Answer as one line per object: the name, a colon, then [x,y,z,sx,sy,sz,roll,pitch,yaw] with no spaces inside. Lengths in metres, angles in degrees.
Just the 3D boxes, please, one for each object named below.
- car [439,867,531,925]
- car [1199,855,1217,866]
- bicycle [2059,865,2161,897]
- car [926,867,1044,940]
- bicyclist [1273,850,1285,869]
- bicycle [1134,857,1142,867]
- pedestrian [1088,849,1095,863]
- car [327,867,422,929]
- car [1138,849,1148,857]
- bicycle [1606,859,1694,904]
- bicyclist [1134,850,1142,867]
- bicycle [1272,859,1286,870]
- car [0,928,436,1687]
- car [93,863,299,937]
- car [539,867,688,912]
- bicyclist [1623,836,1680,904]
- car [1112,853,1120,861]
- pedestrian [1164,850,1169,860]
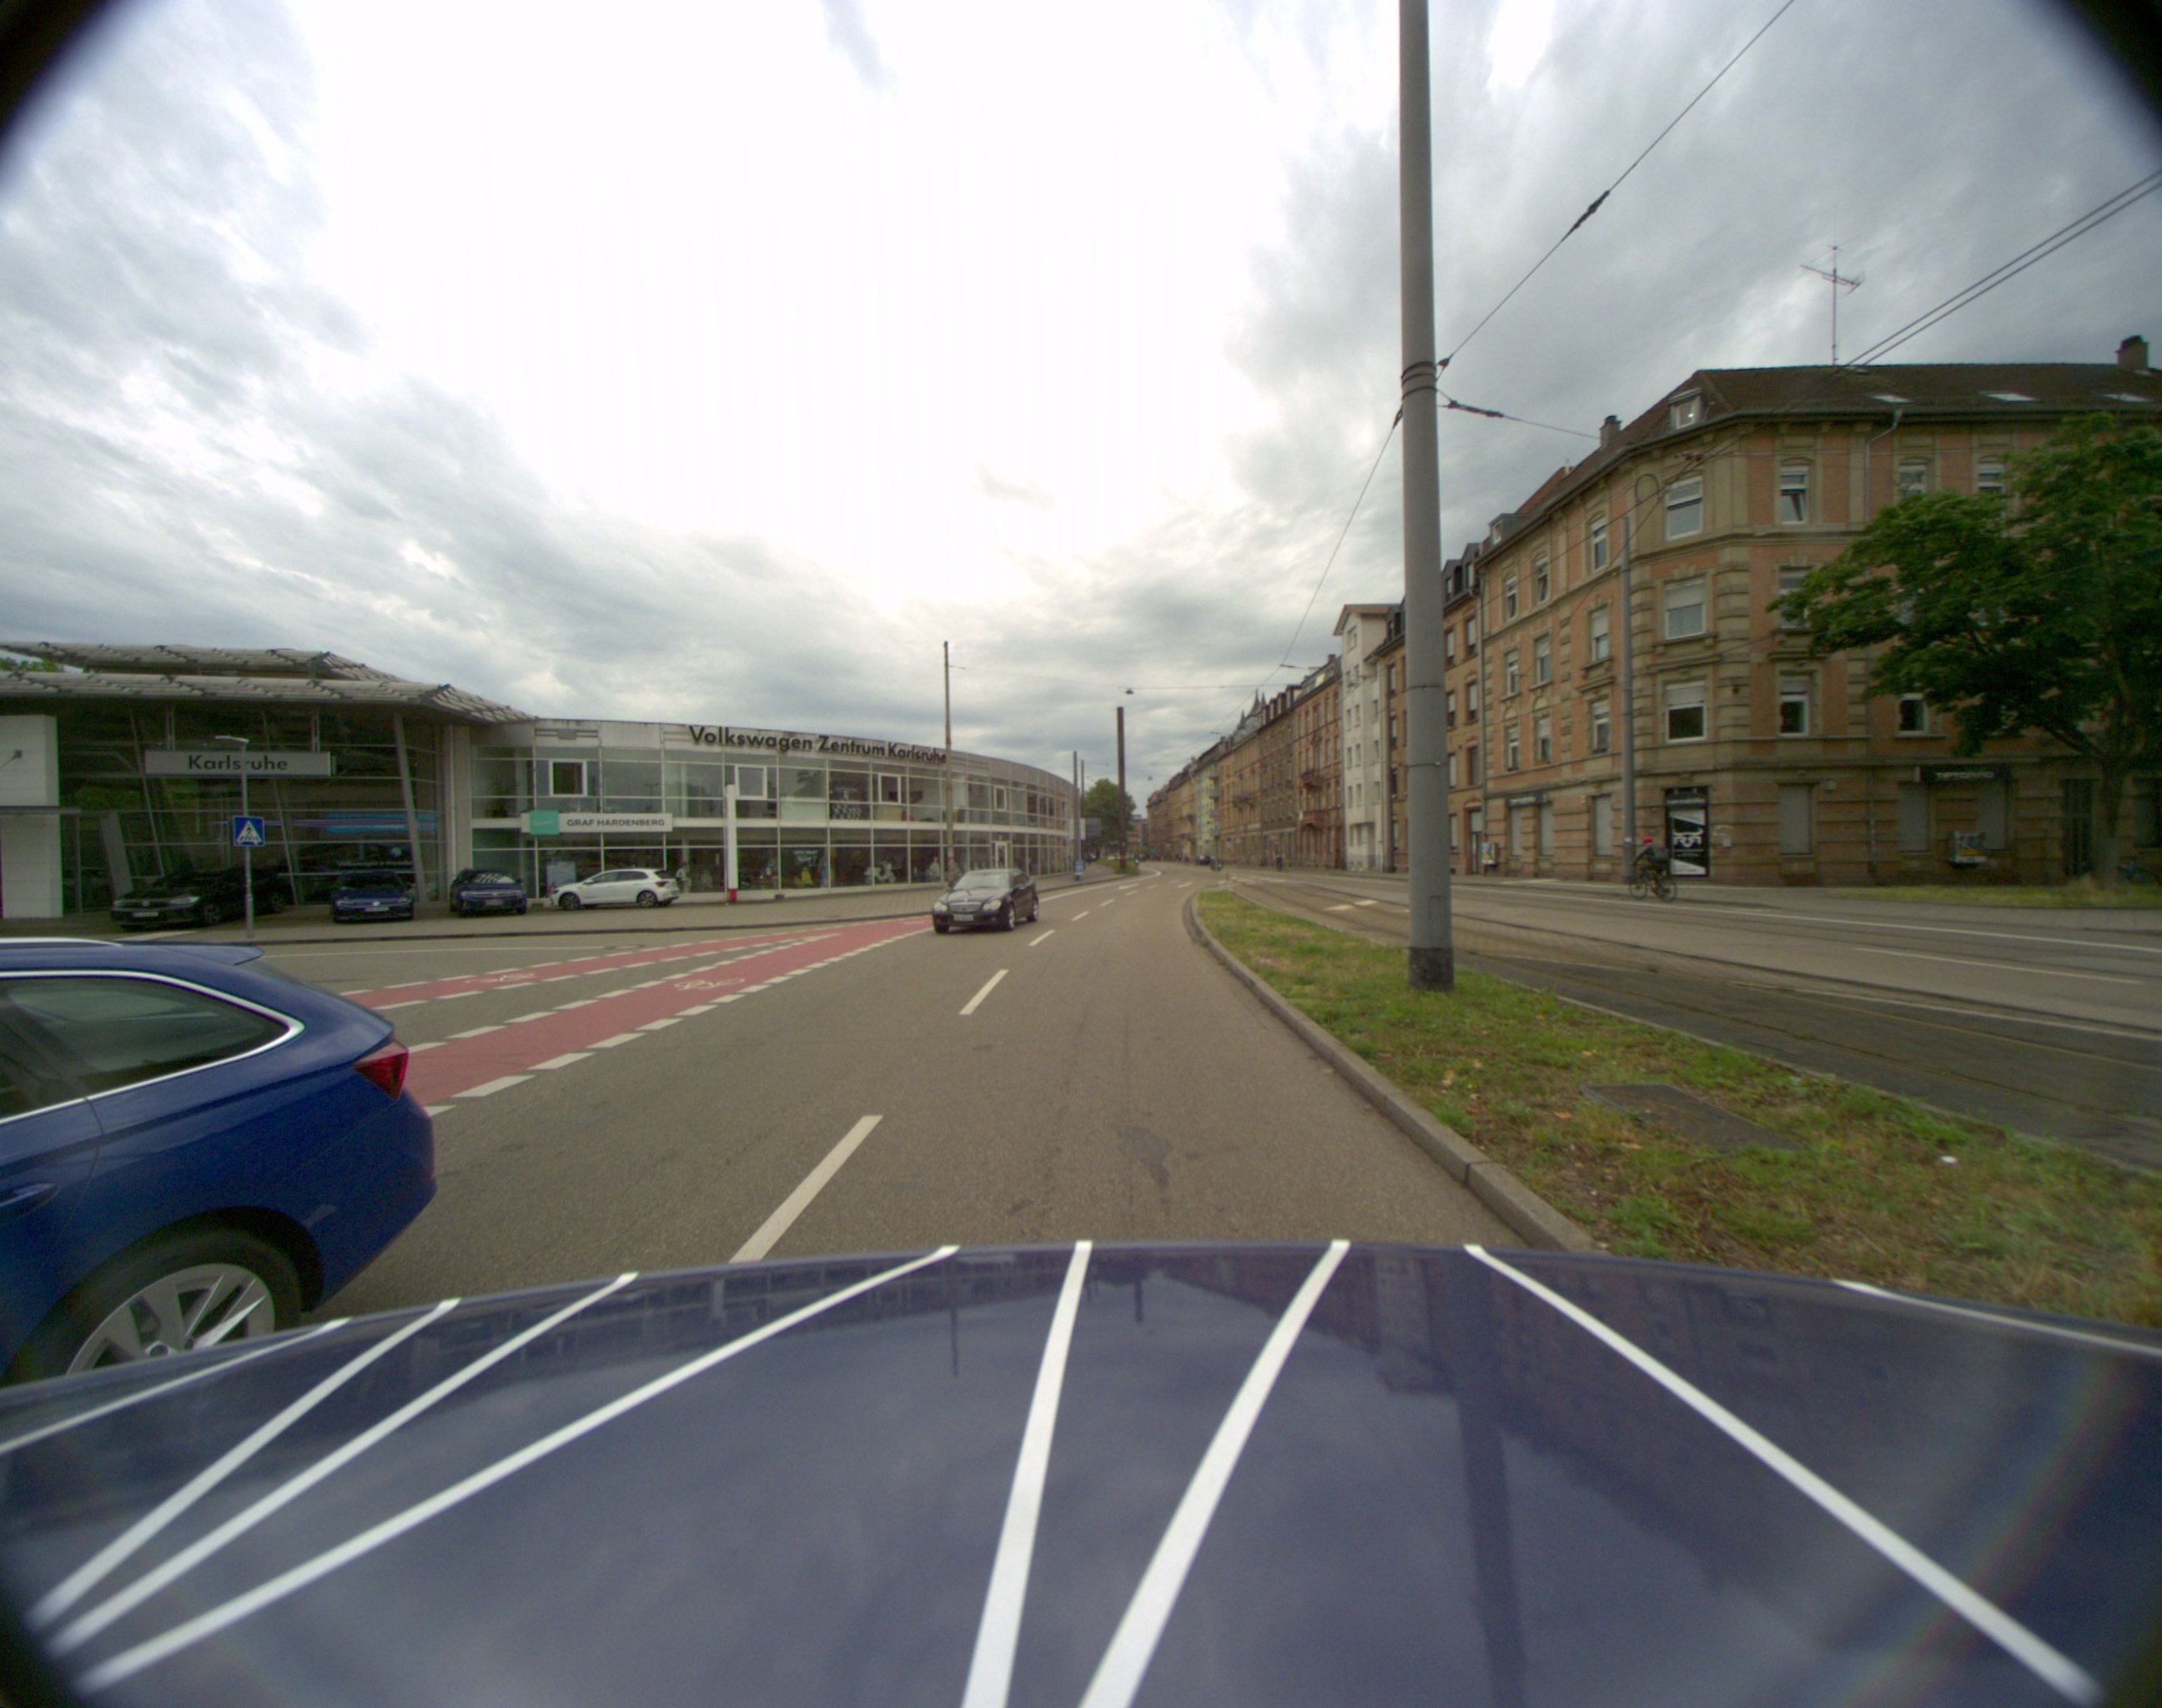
car: [-20.150,1.328,25.634,1.905,1.554,4.207,-2,3,-45]
car: [17.196,0.848,102.988,1.852,1.471,3.828,-1,0,3]
bicycle: [30.321,0.805,22.236,0.662,0.909,1.989,0,-3,-10]
car: [-2.132,1.084,17.999,1.713,1.413,4.072,-1,0,8]
bicyclist: [16.283,0.436,62.542,0.663,1.486,0.942,-1,1,-3]
bicycle: [5.968,0.831,79.652,0.727,1.003,2.177,-1,0,7]
pedestrian: [1.484,0.282,106.559,0.871,1.843,0.706,-1,1,1]
car: [-22.204,1.298,23.837,4.325,1.496,1.862,3,4,43]
car: [12.984,-0.175,159.481,1.802,1.630,4.230,-1,0,1]
bicycle: [16.269,0.762,21.824,0.826,1.201,2.234,0,0,-1]
bicyclist: [5.990,0.491,79.866,0.730,1.747,0.911,-1,1,7]
bicycle: [16.303,0.853,62.626,0.607,0.910,1.719,-1,0,-4]
car: [-3.186,1.035,0.413,1.784,1.480,4.465,-1,1,1]
car: [-26.472,1.280,23.018,1.862,1.624,4.500,-3,4,-18]
car: [-17.000,1.268,27.833,4.263,1.444,1.781,-1,0,-9]
bicyclist: [16.272,0.445,21.684,0.831,1.881,1.049,0,0,-1]
car: [7.786,0.598,169.694,1.802,1.630,4.230,-1,0,1]
pedestrian: [16.995,0.153,150.542,0.814,2.002,0.733,-1,1,1]
